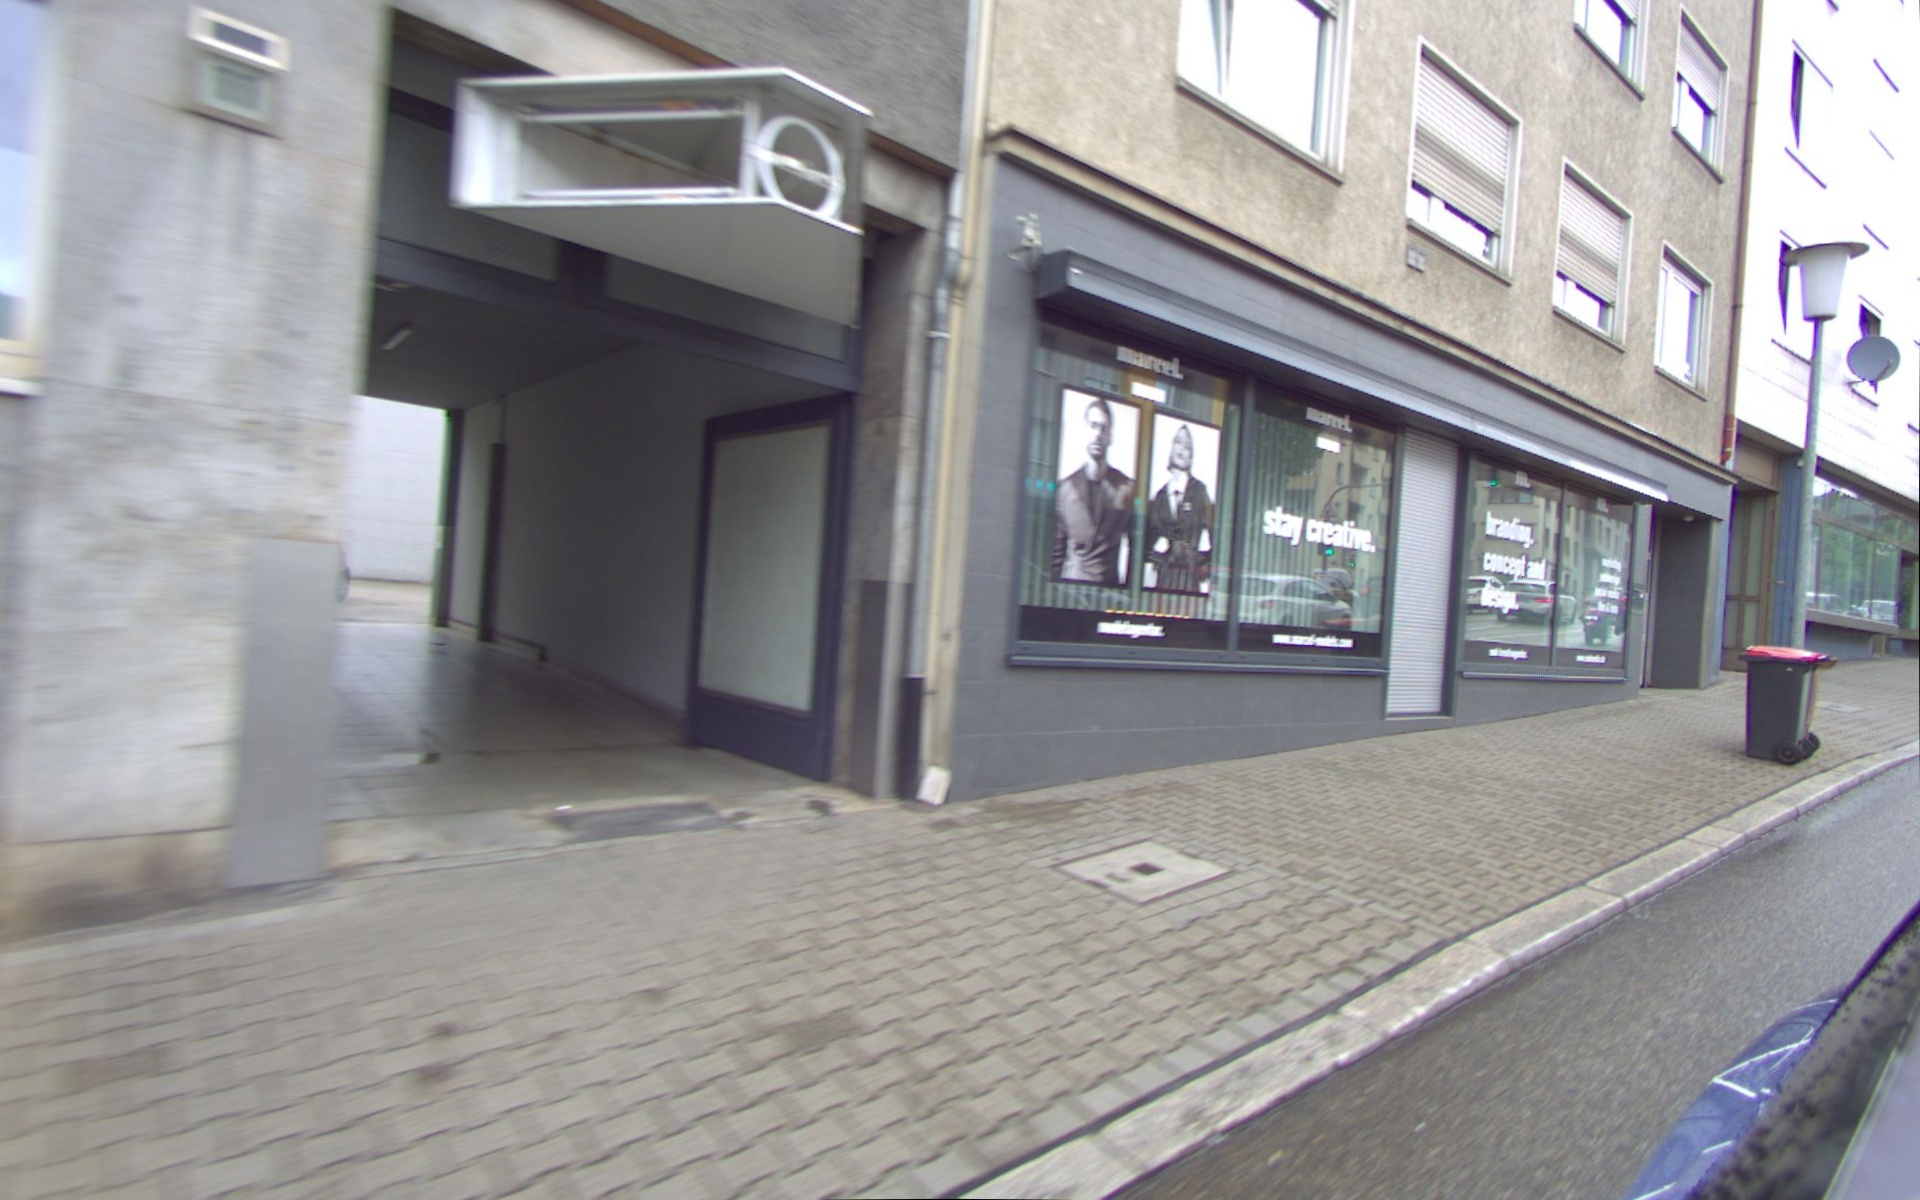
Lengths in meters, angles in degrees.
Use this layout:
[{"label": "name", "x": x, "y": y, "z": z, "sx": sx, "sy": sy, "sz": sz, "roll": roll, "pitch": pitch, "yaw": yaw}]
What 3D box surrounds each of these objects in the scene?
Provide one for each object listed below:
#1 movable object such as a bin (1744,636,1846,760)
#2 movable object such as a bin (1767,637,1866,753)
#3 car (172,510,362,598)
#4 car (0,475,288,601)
[{"label": "movable object such as a bin", "x": 7.172, "y": 0.835, "z": 8.695, "sx": 0.527, "sy": 0.993, "sz": 0.526, "roll": 6, "pitch": -2, "yaw": -35}, {"label": "movable object such as a bin", "x": 7.621, "y": 0.835, "z": 9.004, "sx": 0.527, "sy": 0.962, "sz": 0.526, "roll": 6, "pitch": -2, "yaw": -35}, {"label": "car", "x": -12.901, "y": -0.793, "z": 19.111, "sx": 1.705, "sy": 1.353, "sz": 3.663, "roll": 5, "pitch": -1, "yaw": -14}, {"label": "car", "x": -11.799, "y": -0.786, "z": 14.906, "sx": 1.705, "sy": 1.438, "sz": 4.410, "roll": 5, "pitch": -1, "yaw": -14}]
